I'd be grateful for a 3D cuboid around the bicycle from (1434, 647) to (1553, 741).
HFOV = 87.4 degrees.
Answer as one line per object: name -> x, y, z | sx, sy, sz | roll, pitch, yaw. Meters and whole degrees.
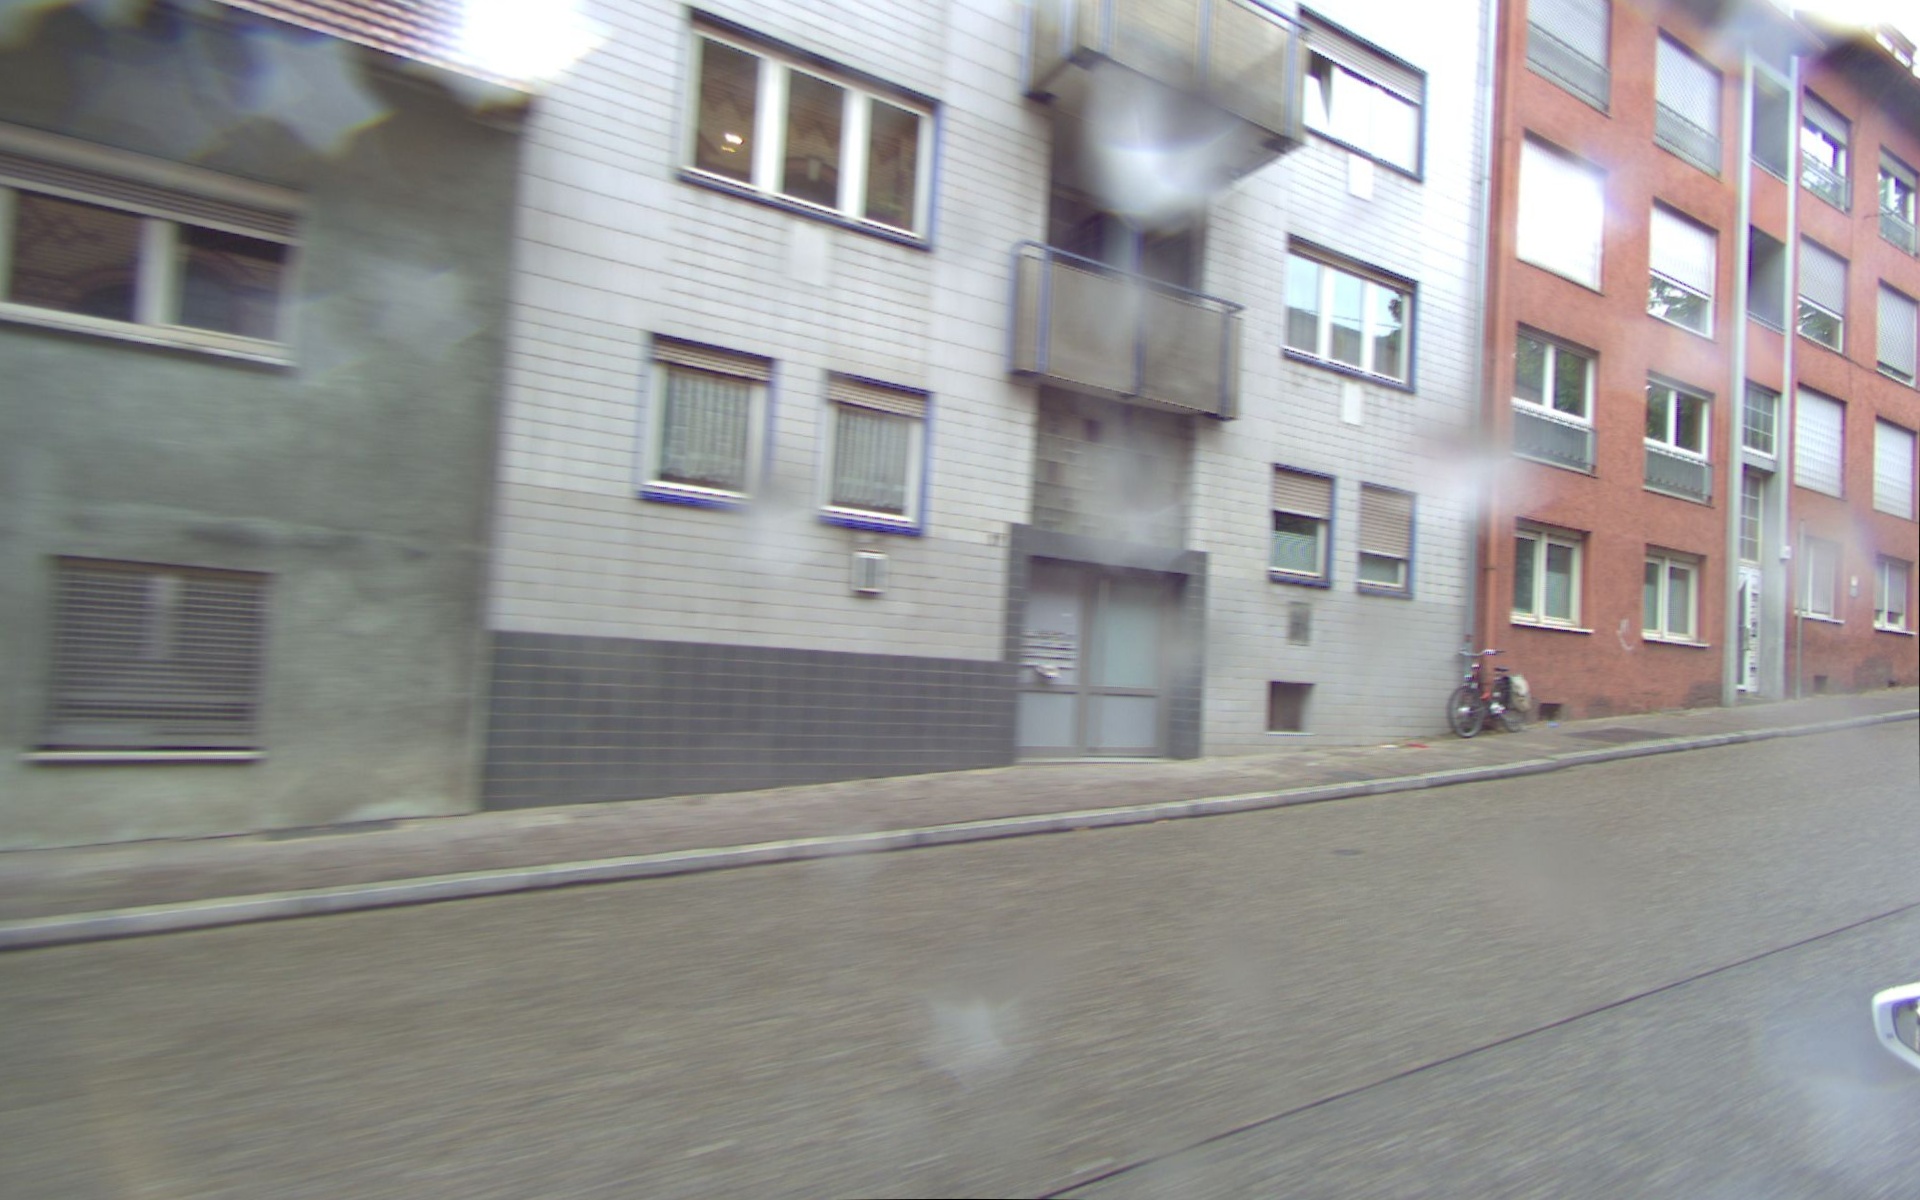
bicycle -> 7.049, 1.205, 13.246 | 1.778, 1.122, 0.496 | 0, -1, -29
